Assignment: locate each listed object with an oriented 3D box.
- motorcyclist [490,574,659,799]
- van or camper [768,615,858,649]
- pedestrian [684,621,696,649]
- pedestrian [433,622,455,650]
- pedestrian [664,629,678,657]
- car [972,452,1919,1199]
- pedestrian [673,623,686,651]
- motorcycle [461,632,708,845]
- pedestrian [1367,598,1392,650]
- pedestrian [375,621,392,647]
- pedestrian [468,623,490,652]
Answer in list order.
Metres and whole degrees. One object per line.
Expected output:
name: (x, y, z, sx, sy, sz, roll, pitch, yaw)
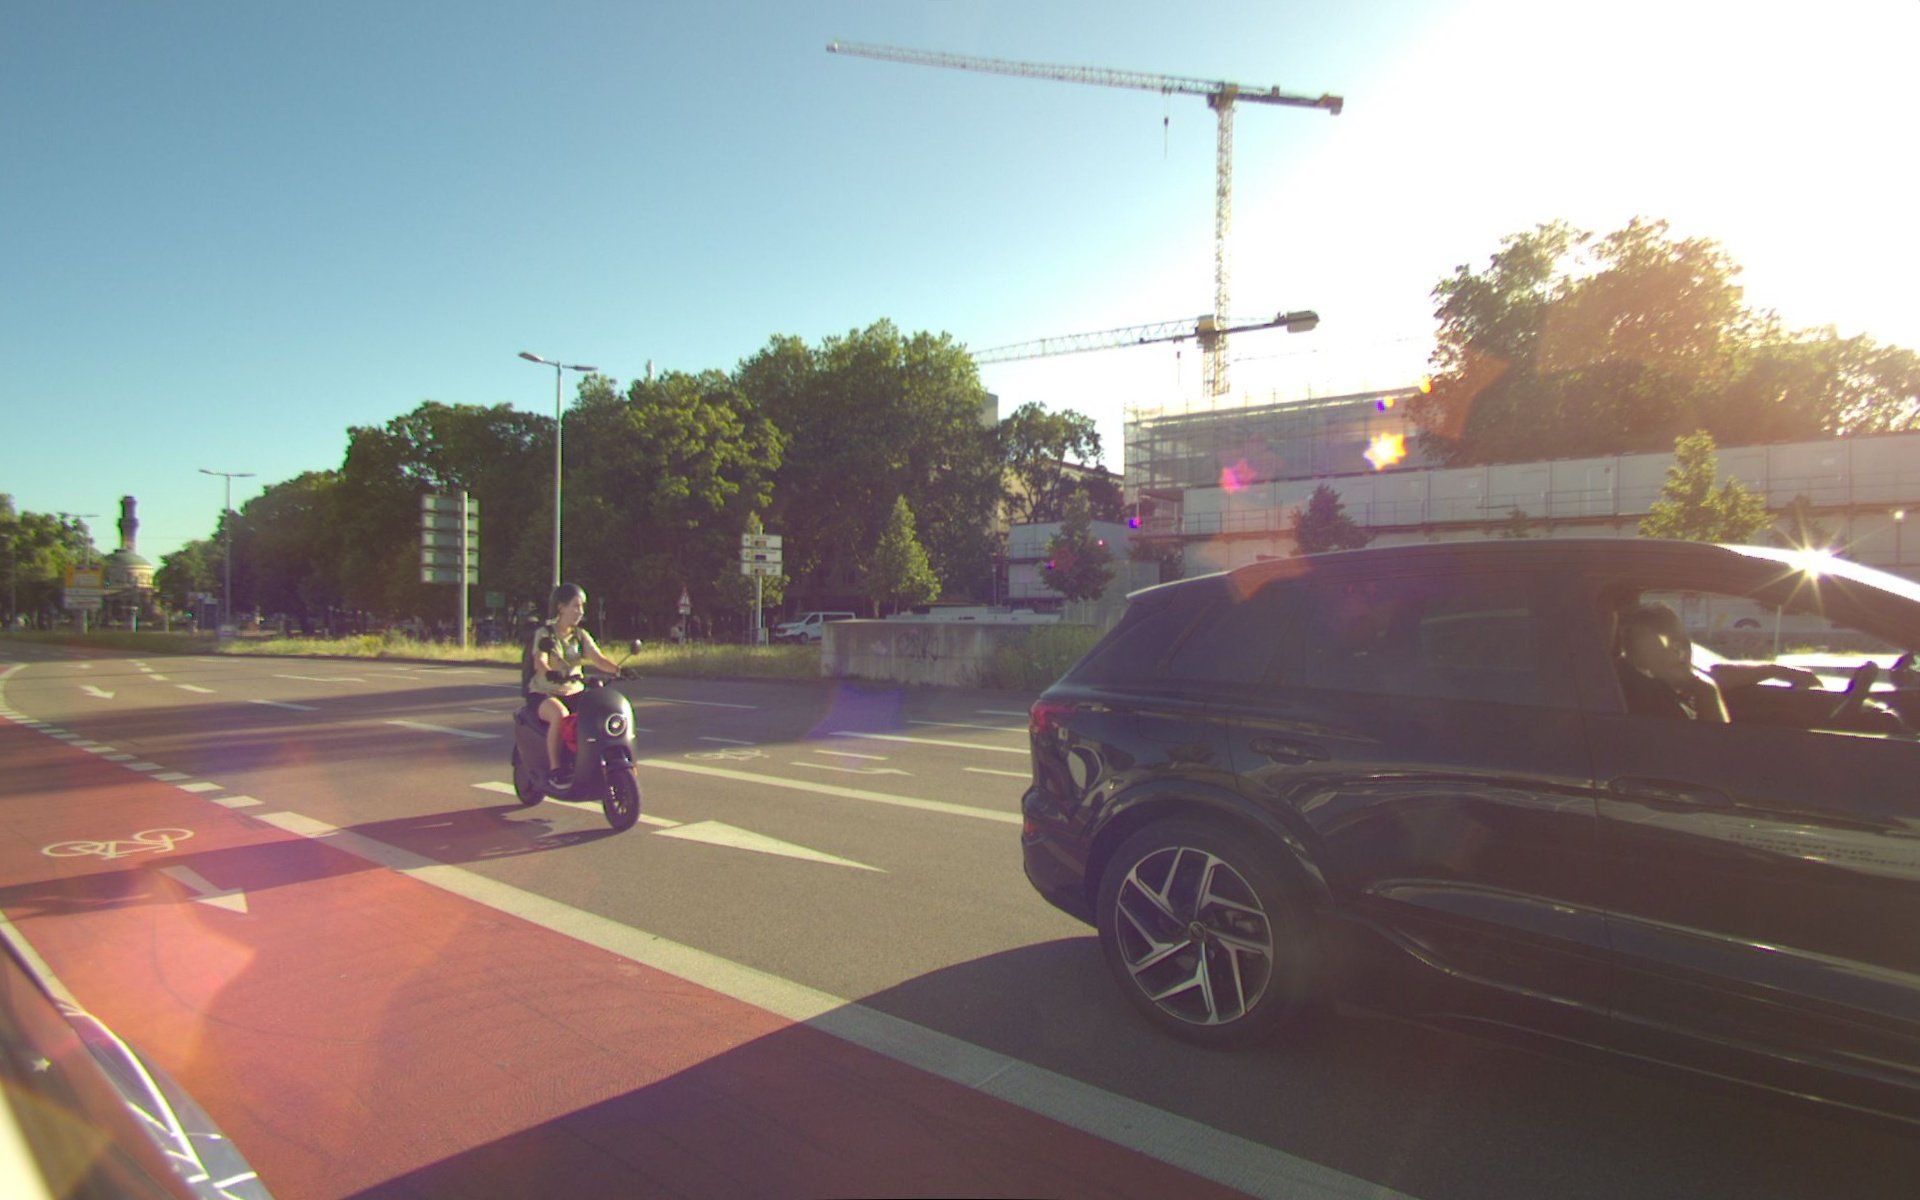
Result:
motorcyclist: (-2.755, 0.579, 7.246, 0.877, 1.475, 0.813, -1, -2, 41)
van or camper: (-8.958, 1.930, 61.898, 1.951, 1.960, 5.425, -2, -2, 44)
pedestrian: (-14.948, 1.928, 56.022, 0.494, 1.522, 0.492, -1, -2, 41)
pedestrian: (-37.570, 2.612, 73.676, 1.054, 1.978, 0.942, -1, 0, 26)
pedestrian: (-15.622, 2.329, 54.726, 0.494, 1.522, 0.492, -1, -2, 41)
car: (2.524, 0.550, 3.233, 4.659, 1.720, 2.144, -1, -1, 39)
pedestrian: (-15.338, 2.020, 55.311, 0.494, 1.522, 0.492, -1, -2, 41)
motorcycle: (-2.703, 0.882, 7.188, 1.943, 1.290, 0.817, -1, -2, 41)
pedestrian: (13.226, 0.760, 31.895, 0.597, 1.614, 0.580, -1, 0, 38)
pedestrian: (-45.765, 2.695, 80.370, 0.941, 2.029, 0.842, -1, 0, -10)
pedestrian: (-33.526, 2.595, 70.512, 0.815, 1.978, 1.111, -1, 0, 41)
